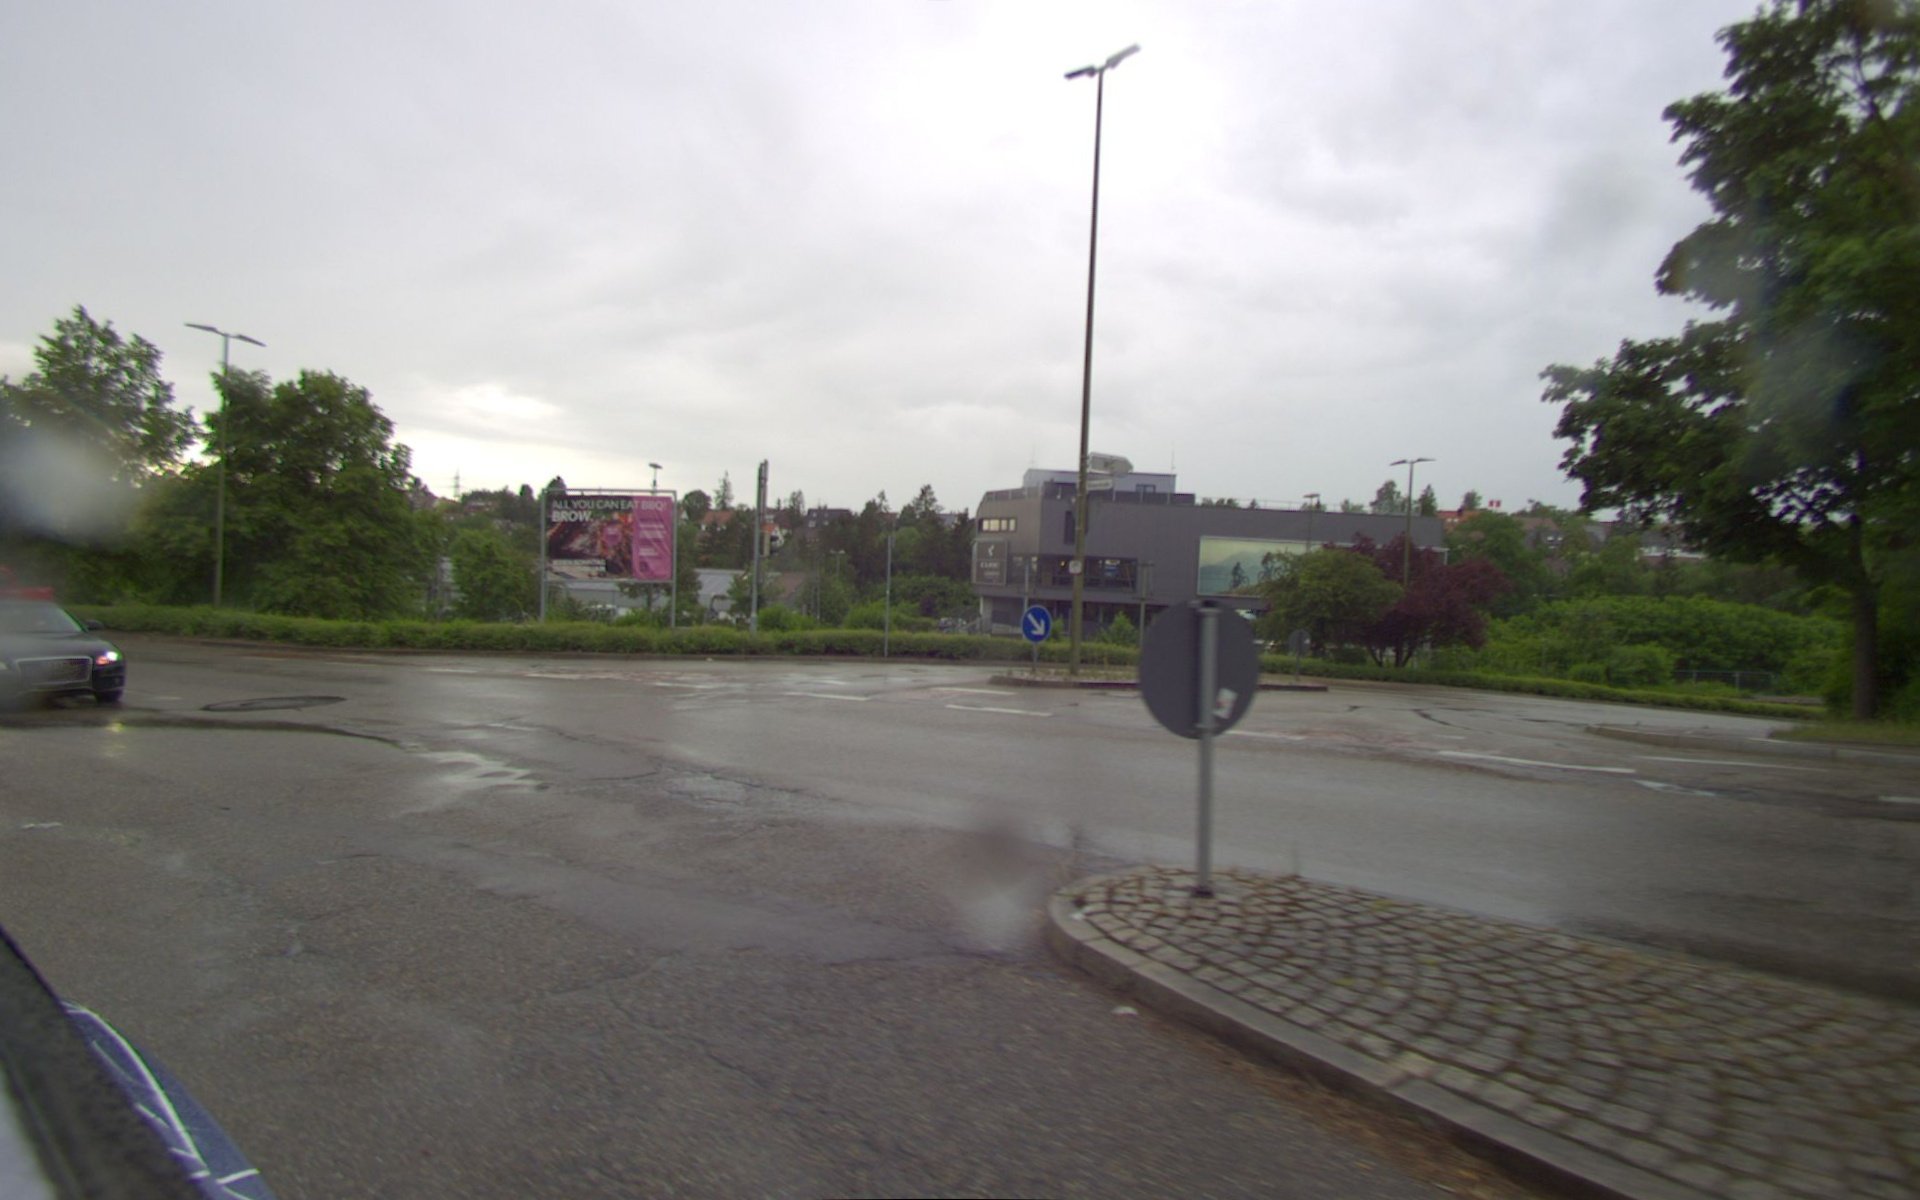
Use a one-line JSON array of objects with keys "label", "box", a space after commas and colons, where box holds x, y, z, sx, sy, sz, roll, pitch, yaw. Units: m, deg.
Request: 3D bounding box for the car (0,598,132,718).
[{"label": "car", "box": [-13.164, 0.708, 13.882, 3.989, 1.406, 1.740, 1, 1, 34]}]

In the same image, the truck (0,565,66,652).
[{"label": "truck", "box": [-24.727, 0.137, 25.102, 5.310, 2.029, 1.982, 1, 1, 26]}]
